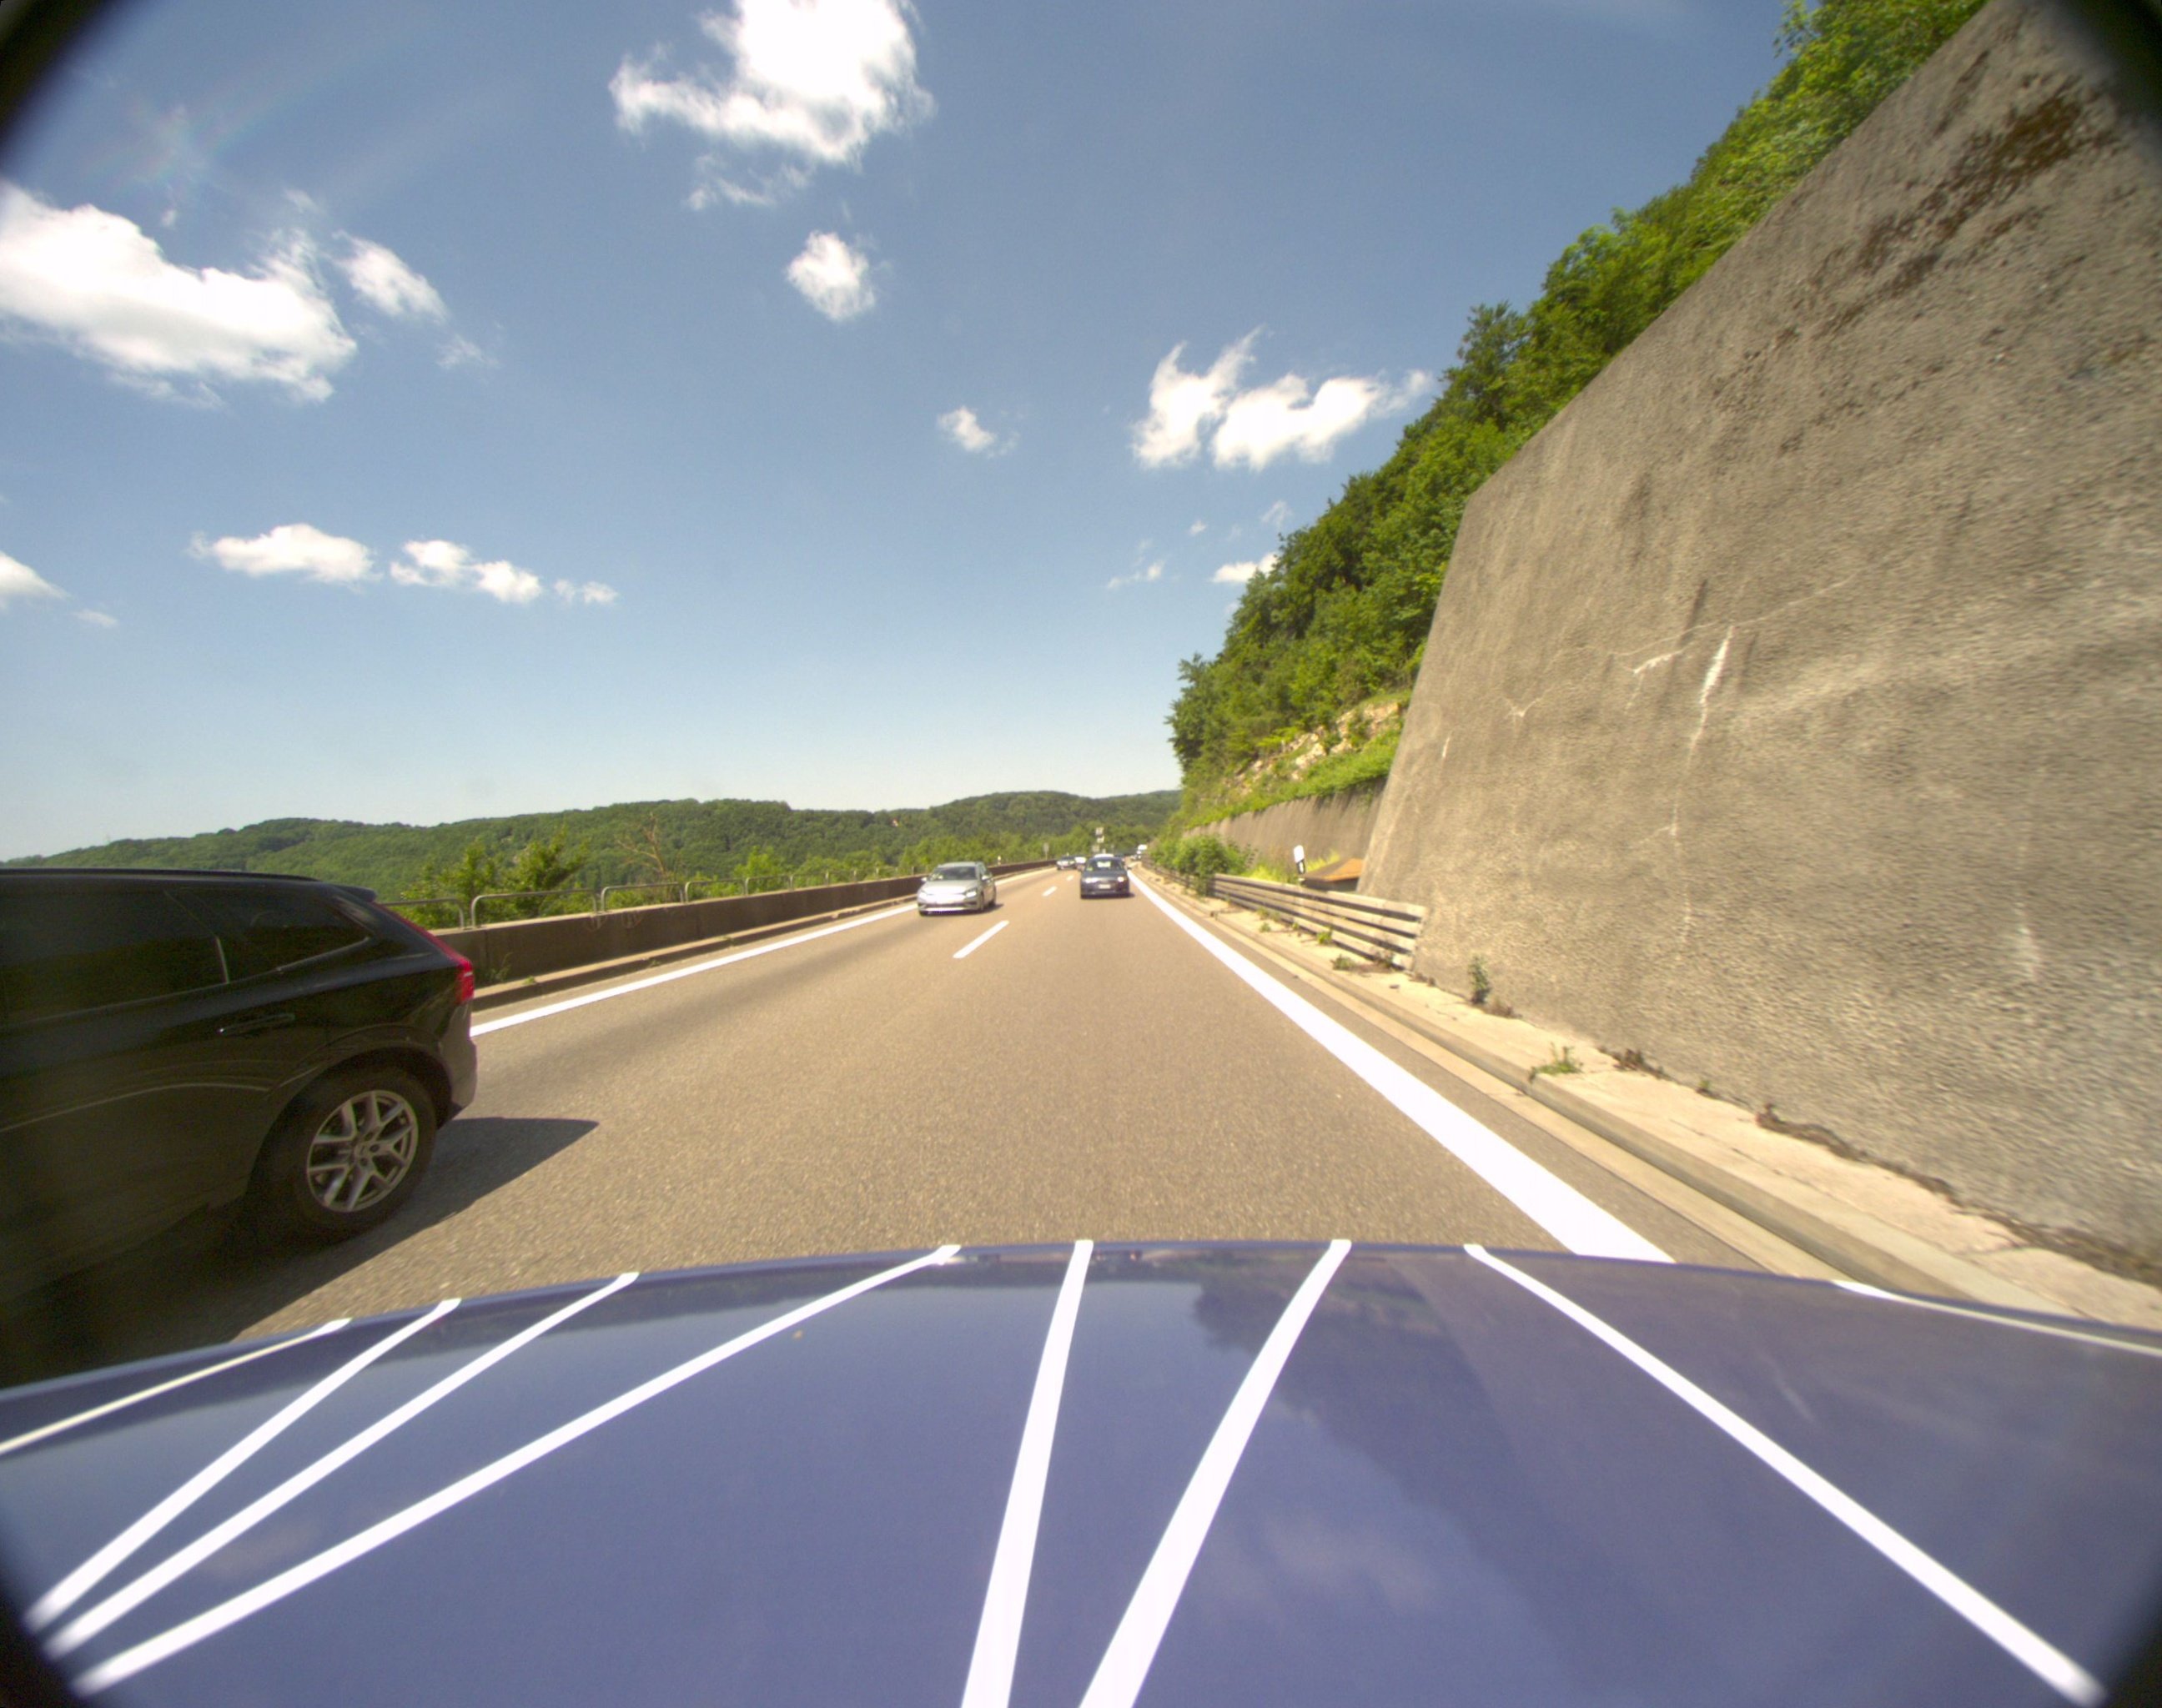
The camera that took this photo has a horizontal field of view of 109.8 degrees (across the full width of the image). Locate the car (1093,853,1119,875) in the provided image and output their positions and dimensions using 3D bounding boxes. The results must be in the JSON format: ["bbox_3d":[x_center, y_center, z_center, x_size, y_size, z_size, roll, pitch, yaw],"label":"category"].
[{"bbox_3d":[1.774,0.657,53.298,1.703,1.432,4.044,-1,1,2],"label":"car"}]

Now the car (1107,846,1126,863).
[{"bbox_3d":[4.397,0.039,93.560,1.998,2.002,4.001,-2,0,6],"label":"car"}]

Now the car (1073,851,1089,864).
[{"bbox_3d":[0.065,0.429,97.839,1.775,1.565,4.001,-2,0,3],"label":"car"}]

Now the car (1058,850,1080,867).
[{"bbox_3d":[-1.154,0.412,76.555,1.875,1.565,4.001,-2,0,3],"label":"car"}]

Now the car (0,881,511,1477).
[{"bbox_3d":[-4.048,1.004,1.712,1.839,1.624,4.662,-2,0,2],"label":"car"}]

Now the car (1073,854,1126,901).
[{"bbox_3d":[0.699,0.767,26.947,1.669,1.415,4.043,-3,1,2],"label":"car"}]

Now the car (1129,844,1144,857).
[{"bbox_3d":[9.325,-0.595,128.122,1.997,2.002,4.002,-3,0,10],"label":"car"}]

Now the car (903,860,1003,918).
[{"bbox_3d":[-3.633,0.967,22.470,1.972,1.370,4.294,-2,1,3],"label":"car"}]
